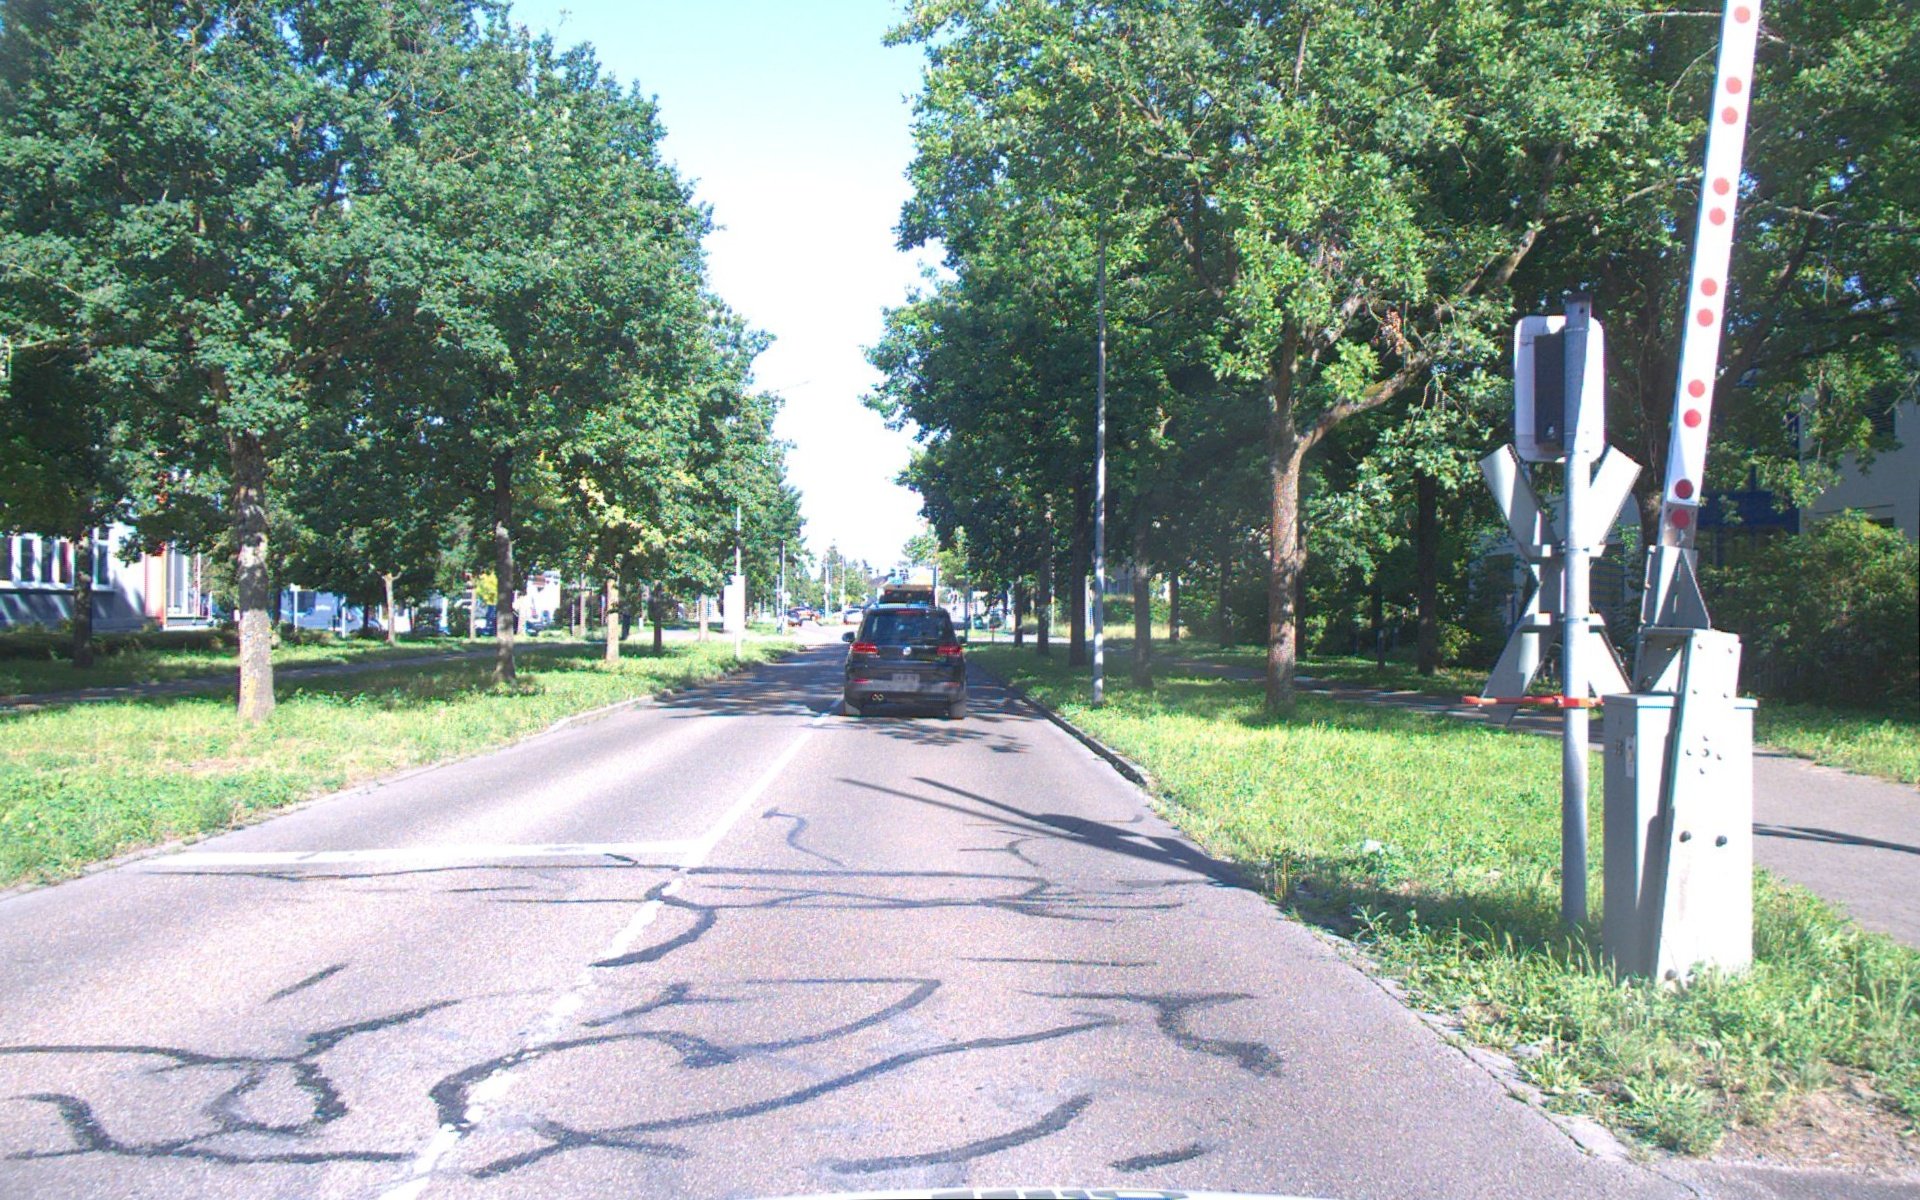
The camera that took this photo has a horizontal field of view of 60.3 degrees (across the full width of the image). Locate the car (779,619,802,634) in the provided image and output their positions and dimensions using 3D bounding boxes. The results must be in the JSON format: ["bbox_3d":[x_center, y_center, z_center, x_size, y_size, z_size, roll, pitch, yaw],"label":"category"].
[{"bbox_3d":[-16.227,2.539,158.437,1.953,1.481,3.998,0,-1,-2],"label":"car"}]

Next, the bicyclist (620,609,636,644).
[{"bbox_3d":[-18.314,1.457,91.301,0.672,1.863,0.933,2,-1,-2],"label":"bicyclist"}]

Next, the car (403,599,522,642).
[{"bbox_3d":[-25.867,1.050,86.212,5.687,2.049,1.994,2,-1,-12],"label":"car"}]

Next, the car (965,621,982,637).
[{"bbox_3d":[1.210,2.633,149.423,1.422,1.430,2.855,2,-1,-1],"label":"car"}]

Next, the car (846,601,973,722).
[{"bbox_3d":[-0.699,0.894,25.490,1.745,1.662,4.000,2,-1,1],"label":"car"}]

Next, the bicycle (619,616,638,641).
[{"bbox_3d":[-18.308,1.577,91.382,0.702,1.344,1.990,2,-1,-2],"label":"bicycle"}]

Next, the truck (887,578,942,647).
[{"bbox_3d":[-2.199,0.650,83.039,2.460,3.300,8.152,0,-1,0],"label":"truck"}]

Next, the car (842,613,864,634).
[{"bbox_3d":[-10.855,2.389,167.747,1.955,2.049,3.994,2,-1,-7],"label":"car"}]

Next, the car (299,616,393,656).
[{"bbox_3d":[-27.019,1.573,72.871,3.288,1.671,2.001,2,-1,4],"label":"car"}]
